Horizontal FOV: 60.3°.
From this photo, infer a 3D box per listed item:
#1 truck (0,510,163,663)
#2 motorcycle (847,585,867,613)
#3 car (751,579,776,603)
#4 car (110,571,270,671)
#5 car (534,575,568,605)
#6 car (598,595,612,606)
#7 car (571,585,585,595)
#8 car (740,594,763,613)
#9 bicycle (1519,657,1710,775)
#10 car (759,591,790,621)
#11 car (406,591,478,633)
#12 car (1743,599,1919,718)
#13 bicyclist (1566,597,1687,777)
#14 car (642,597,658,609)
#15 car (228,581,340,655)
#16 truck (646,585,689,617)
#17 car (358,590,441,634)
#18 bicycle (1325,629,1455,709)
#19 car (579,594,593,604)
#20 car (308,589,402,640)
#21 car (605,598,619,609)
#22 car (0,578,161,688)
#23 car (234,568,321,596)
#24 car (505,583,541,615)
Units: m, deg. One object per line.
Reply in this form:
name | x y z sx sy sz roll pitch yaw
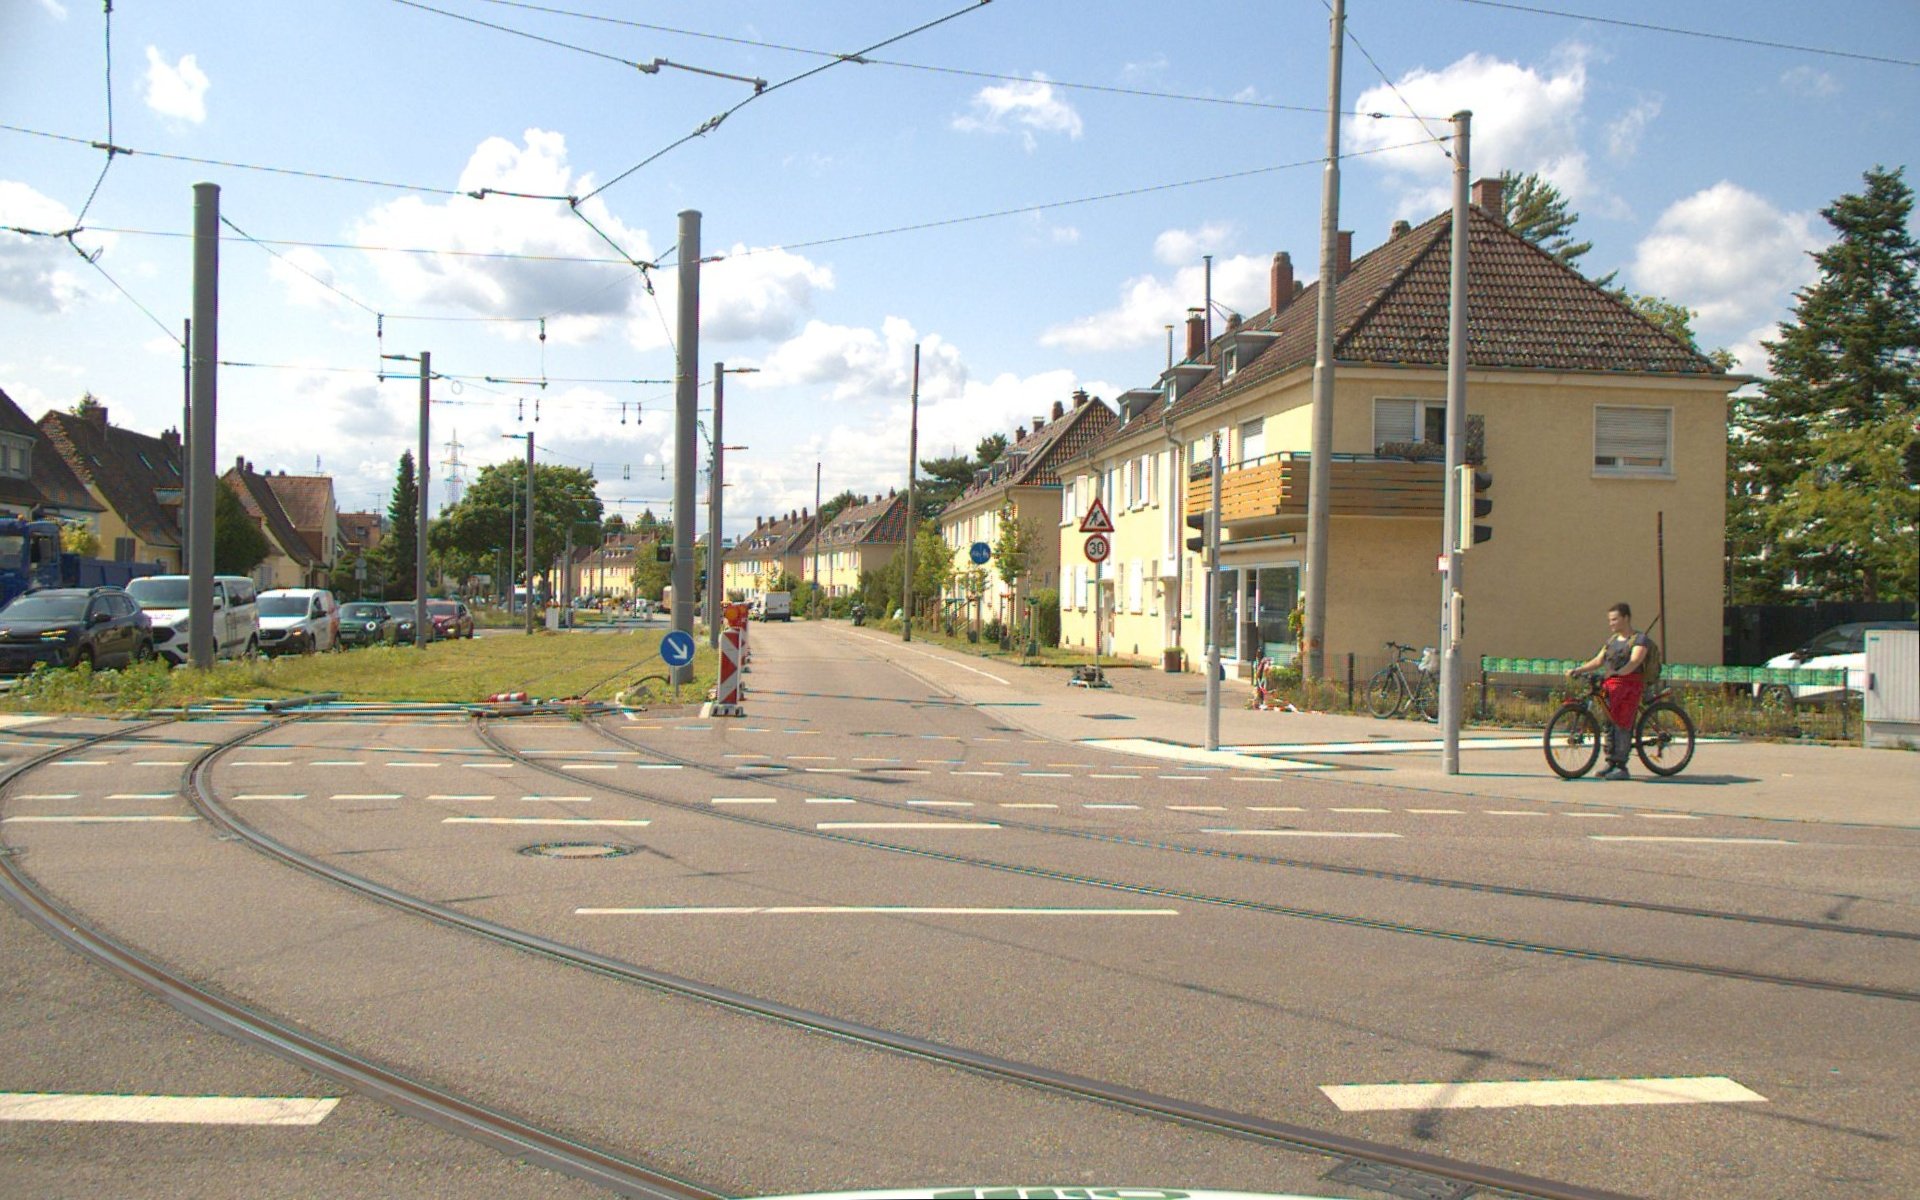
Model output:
truck | -21.331 -0.290 38.644 2.717 3.244 7.567 1 0 -9
motorcycle | -6.310 -0.076 101.207 1.047 1.664 2.079 0 1 -9
car | -16.139 -0.741 135.937 1.541 1.930 3.775 1 0 -14
car | -16.193 0.418 35.037 1.781 1.955 4.738 1 0 -9
car | -33.779 -0.806 136.401 2.369 2.412 4.855 1 0 -18
car | -47.735 0.078 222.205 1.243 1.451 2.641 1 0 -27
car | -53.644 -1.462 232.262 1.243 1.374 2.641 1 0 -27
car | -17.780 0.331 140.912 1.541 1.579 3.775 1 0 -14
bicycle | 6.741 1.165 17.004 2.004 1.121 0.709 1 0 -28
car | -14.173 0.439 126.374 2.028 2.187 4.866 1 0 -10
car | -19.770 0.437 63.274 1.808 1.520 4.848 1 0 -8
car | 13.927 0.861 25.026 1.789 1.649 3.990 1 -1 -10
bicyclist | 6.882 0.876 17.080 0.946 1.806 0.713 1 -1 -27
car | -37.178 0.394 198.432 1.241 1.451 2.645 1 0 -24
car | -17.449 0.453 42.884 1.700 1.813 4.396 0 0 -9
truck | -32.957 0.130 186.275 2.606 3.555 9.366 1 0 -24
car | -19.064 0.389 56.455 1.809 1.438 4.906 1 0 -9
bicycle | 6.487 1.026 25.076 0.586 1.115 2.258 1 0 -26
car | -51.729 -0.177 228.630 1.243 1.374 2.641 1 0 -27
car | -18.023 0.419 49.436 1.879 1.443 3.992 1 0 -9
car | -45.782 0.447 217.732 1.242 1.451 2.643 1 0 -26
car | -15.552 0.498 28.633 1.752 1.750 4.434 1 1 -7
car | -37.309 -0.969 90.486 4.030 1.492 1.988 0 1 -8
car | -32.873 -0.067 124.245 2.369 2.379 4.854 1 0 -18
